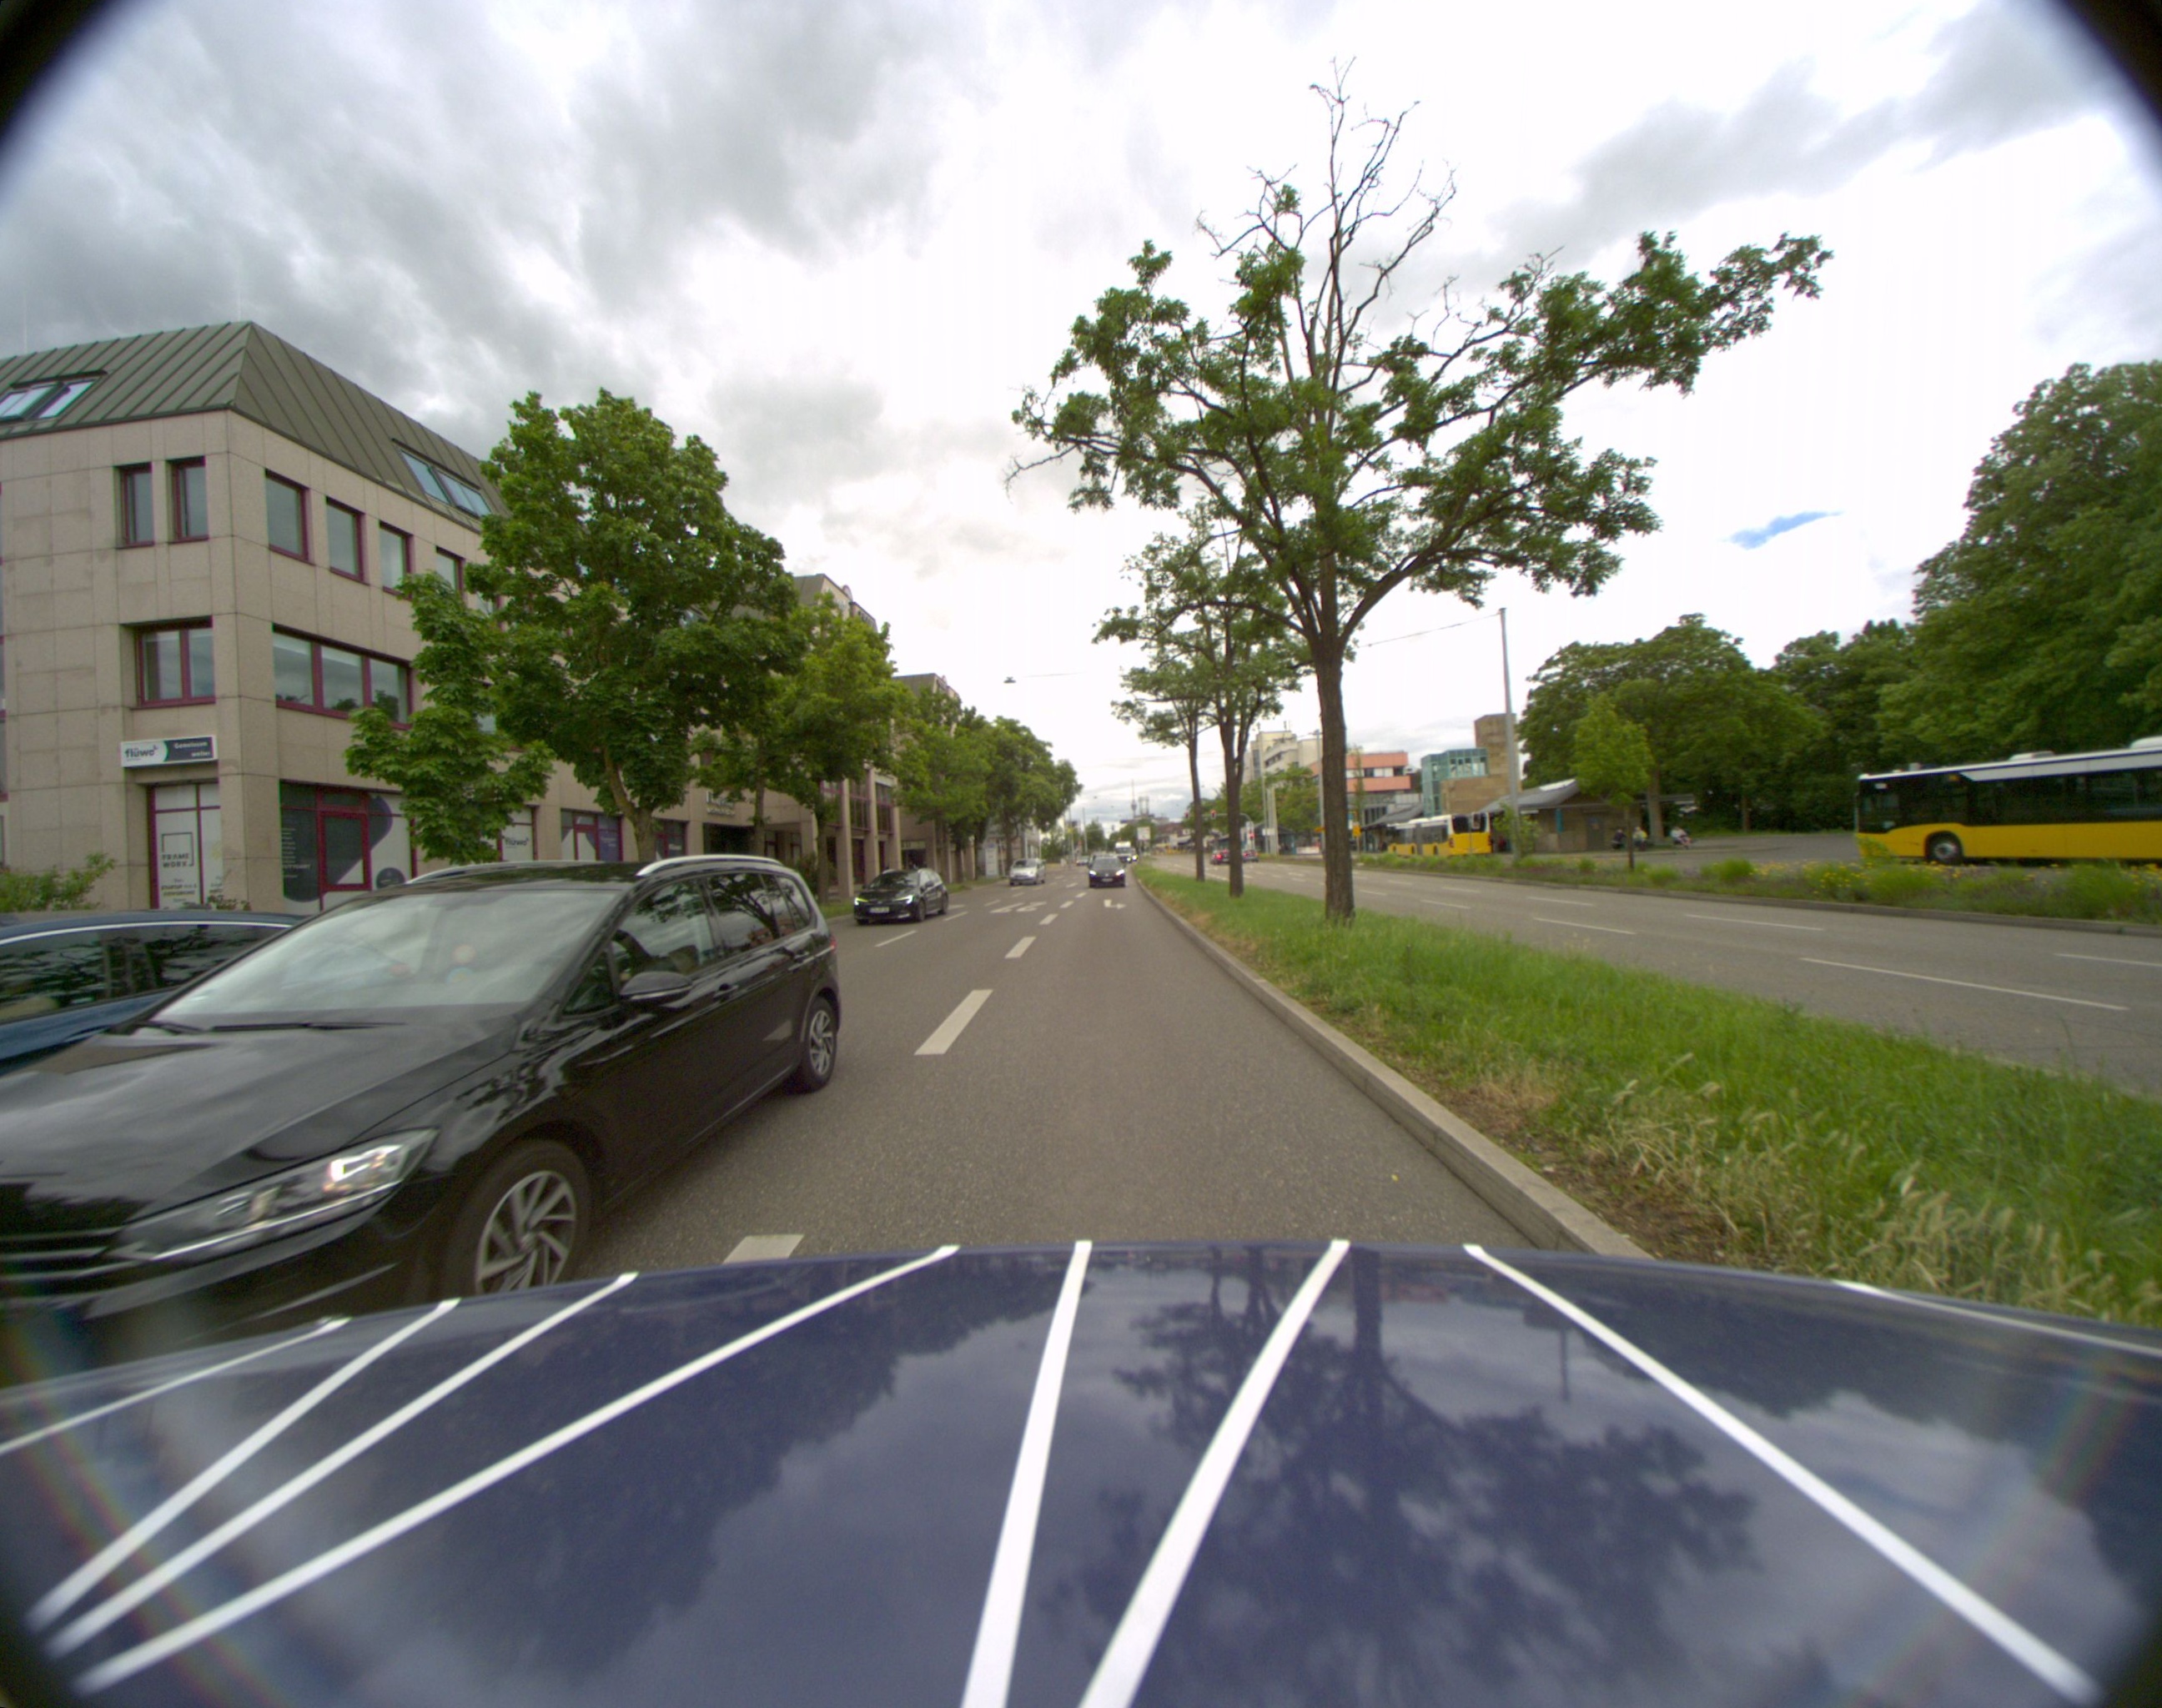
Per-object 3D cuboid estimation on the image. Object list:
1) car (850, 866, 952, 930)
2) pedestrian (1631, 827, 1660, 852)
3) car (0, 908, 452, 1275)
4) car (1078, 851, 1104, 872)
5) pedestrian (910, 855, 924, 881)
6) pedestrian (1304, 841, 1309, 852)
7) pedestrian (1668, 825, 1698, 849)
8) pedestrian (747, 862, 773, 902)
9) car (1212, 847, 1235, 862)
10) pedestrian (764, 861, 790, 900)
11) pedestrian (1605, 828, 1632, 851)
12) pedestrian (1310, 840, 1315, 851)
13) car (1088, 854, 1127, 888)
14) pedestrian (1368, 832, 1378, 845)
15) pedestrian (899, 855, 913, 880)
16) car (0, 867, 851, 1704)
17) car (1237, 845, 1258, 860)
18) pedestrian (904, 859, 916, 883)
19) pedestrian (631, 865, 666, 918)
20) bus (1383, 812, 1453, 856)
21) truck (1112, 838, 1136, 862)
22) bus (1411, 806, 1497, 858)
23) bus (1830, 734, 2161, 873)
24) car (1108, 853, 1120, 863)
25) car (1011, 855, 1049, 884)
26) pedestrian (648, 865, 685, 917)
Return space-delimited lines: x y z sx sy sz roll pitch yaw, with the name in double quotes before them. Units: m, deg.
"car" -4.970 1.173 21.634 1.768 1.440 4.420 -3 1 0
"pedestrian" 30.443 -0.798 40.989 0.859 1.283 0.894 -3 1 -22
"car" -5.702 1.129 3.527 1.972 1.431 4.312 -1 0 0
"car" 0.883 0.664 67.874 2.150 1.630 5.095 -4 0 1
"pedestrian" -11.079 0.945 51.418 0.659 1.681 0.843 -1 1 6
"pedestrian" 31.577 -1.046 106.461 0.529 1.539 0.754 -3 1 18
"pedestrian" 31.944 -0.892 40.336 0.895 1.247 0.858 -3 1 3
"pedestrian" -14.211 1.222 33.658 0.596 1.695 0.970 -3 1 6
"car" 14.731 0.022 78.654 1.662 1.499 3.769 -3 1 2
"pedestrian" -13.478 1.166 33.712 0.596 1.695 0.970 -3 1 6
"pedestrian" 30.533 -0.818 43.179 0.859 1.247 0.894 -3 1 -26
"pedestrian" 32.494 -1.144 106.451 0.485 1.539 0.383 -3 1 -6
"car" 1.366 0.792 38.045 1.763 1.531 4.048 -2 0 3
"pedestrian" 34.667 -1.825 90.164 0.990 1.452 0.592 -3 1 18
"pedestrian" -11.851 0.924 51.485 0.659 1.681 0.843 -1 1 6
"car" -2.780 0.938 3.698 1.972 1.631 4.312 -2 0 0
"car" 18.566 -0.191 84.616 1.819 1.499 4.001 -3 1 6
"pedestrian" -11.163 1.110 49.654 0.562 1.541 0.544 -1 1 6
"pedestrian" -14.311 1.217 25.156 0.568 1.690 0.829 -3 1 6
"bus" 27.617 -1.549 62.780 2.781 3.113 9.444 -5 0 9
"truck" 6.322 -0.654 112.271 3.118 3.209 6.523 -4 1 1
"bus" 26.067 -1.443 53.622 2.814 3.113 9.306 -5 0 10
"bus" 26.219 -1.325 19.866 3.090 3.144 10.740 -6 0 5
"car" 5.550 0.689 125.679 1.895 1.531 4.048 -2 0 3
"car" -3.078 0.903 46.360 1.763 1.625 4.156 -2 0 3
"pedestrian" -13.451 1.180 24.681 0.556 1.643 0.962 -1 1 7
